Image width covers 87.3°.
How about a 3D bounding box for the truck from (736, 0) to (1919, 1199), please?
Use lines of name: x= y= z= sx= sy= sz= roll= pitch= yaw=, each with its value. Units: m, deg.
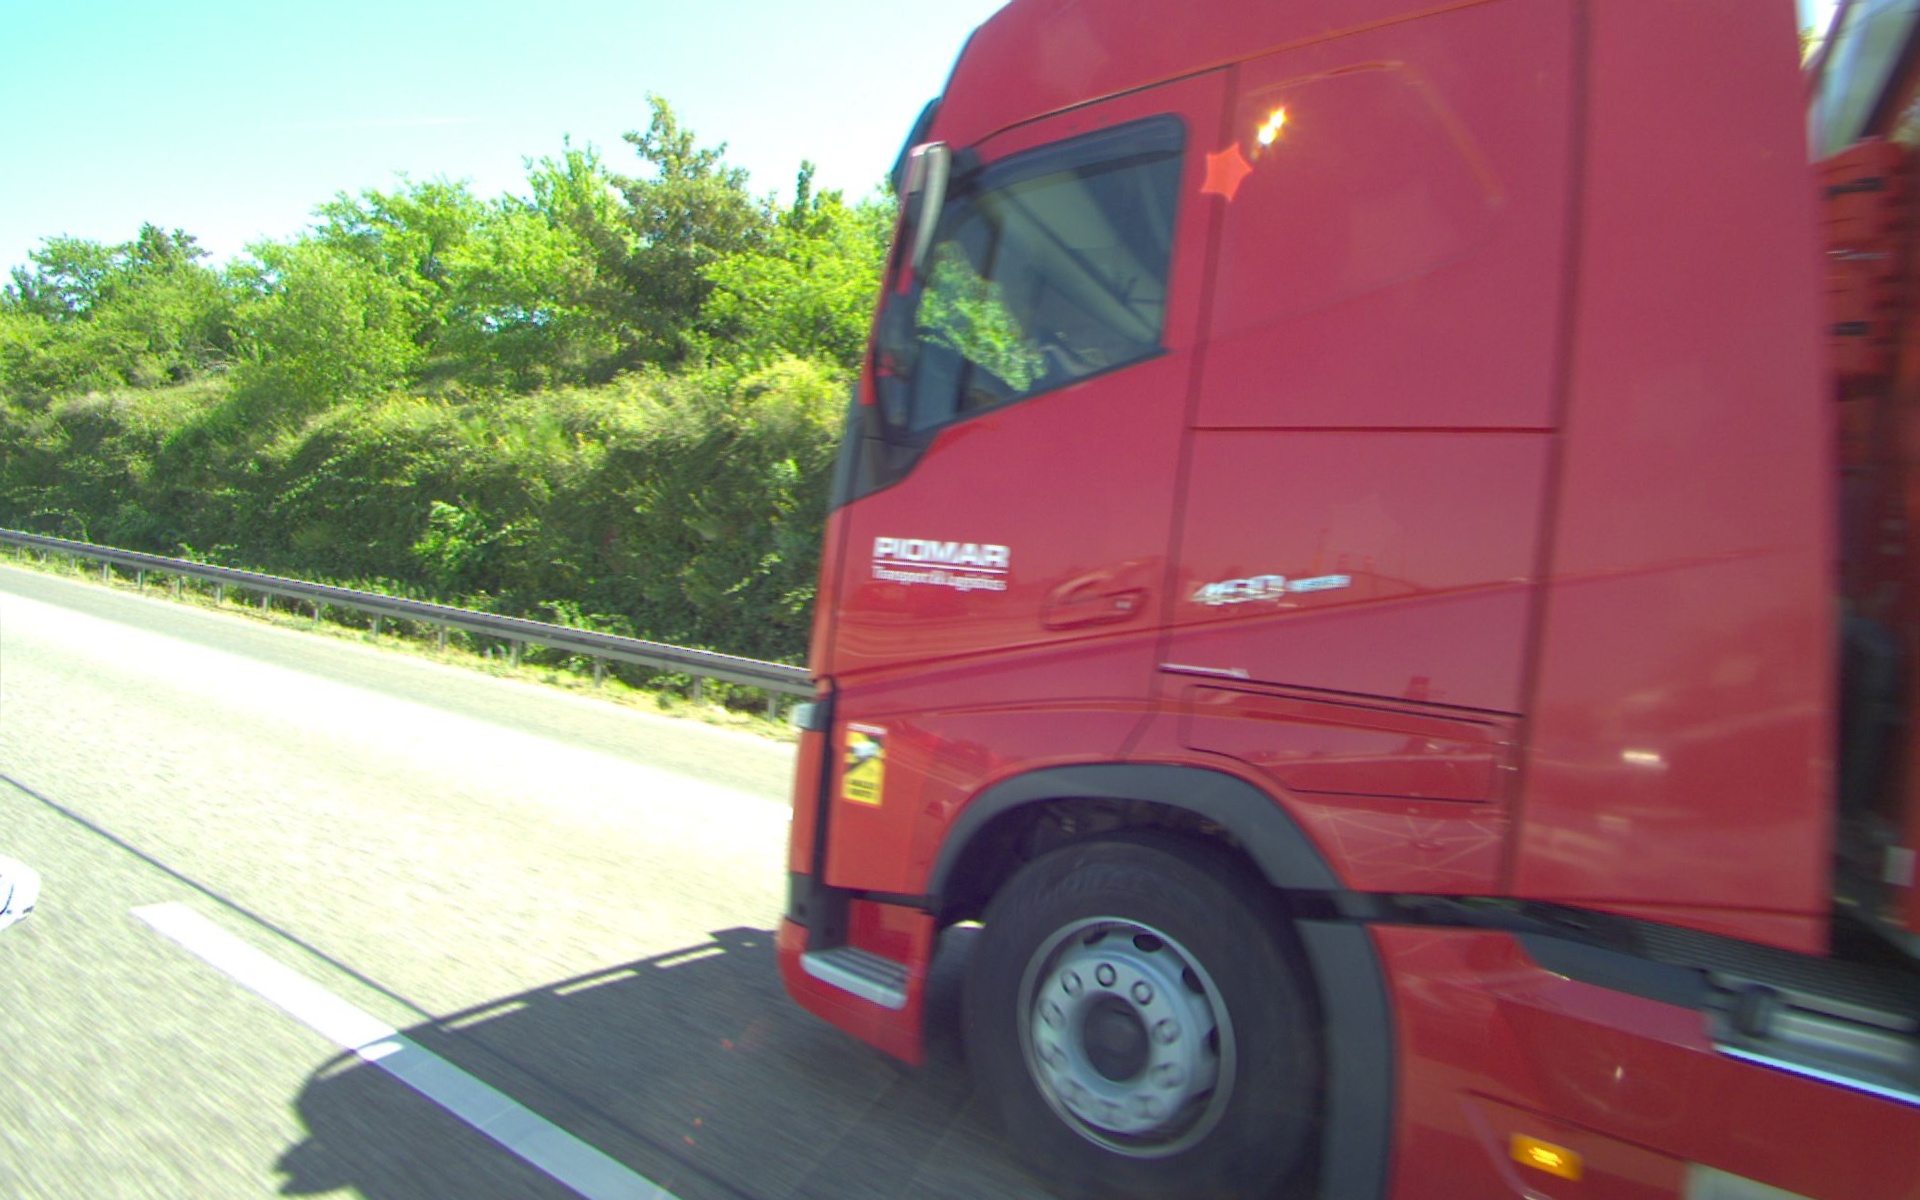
truck: x=3.138 y=-0.051 z=2.361 sx=6.979 sy=3.966 sz=2.504 roll=6 pitch=-1 yaw=31
